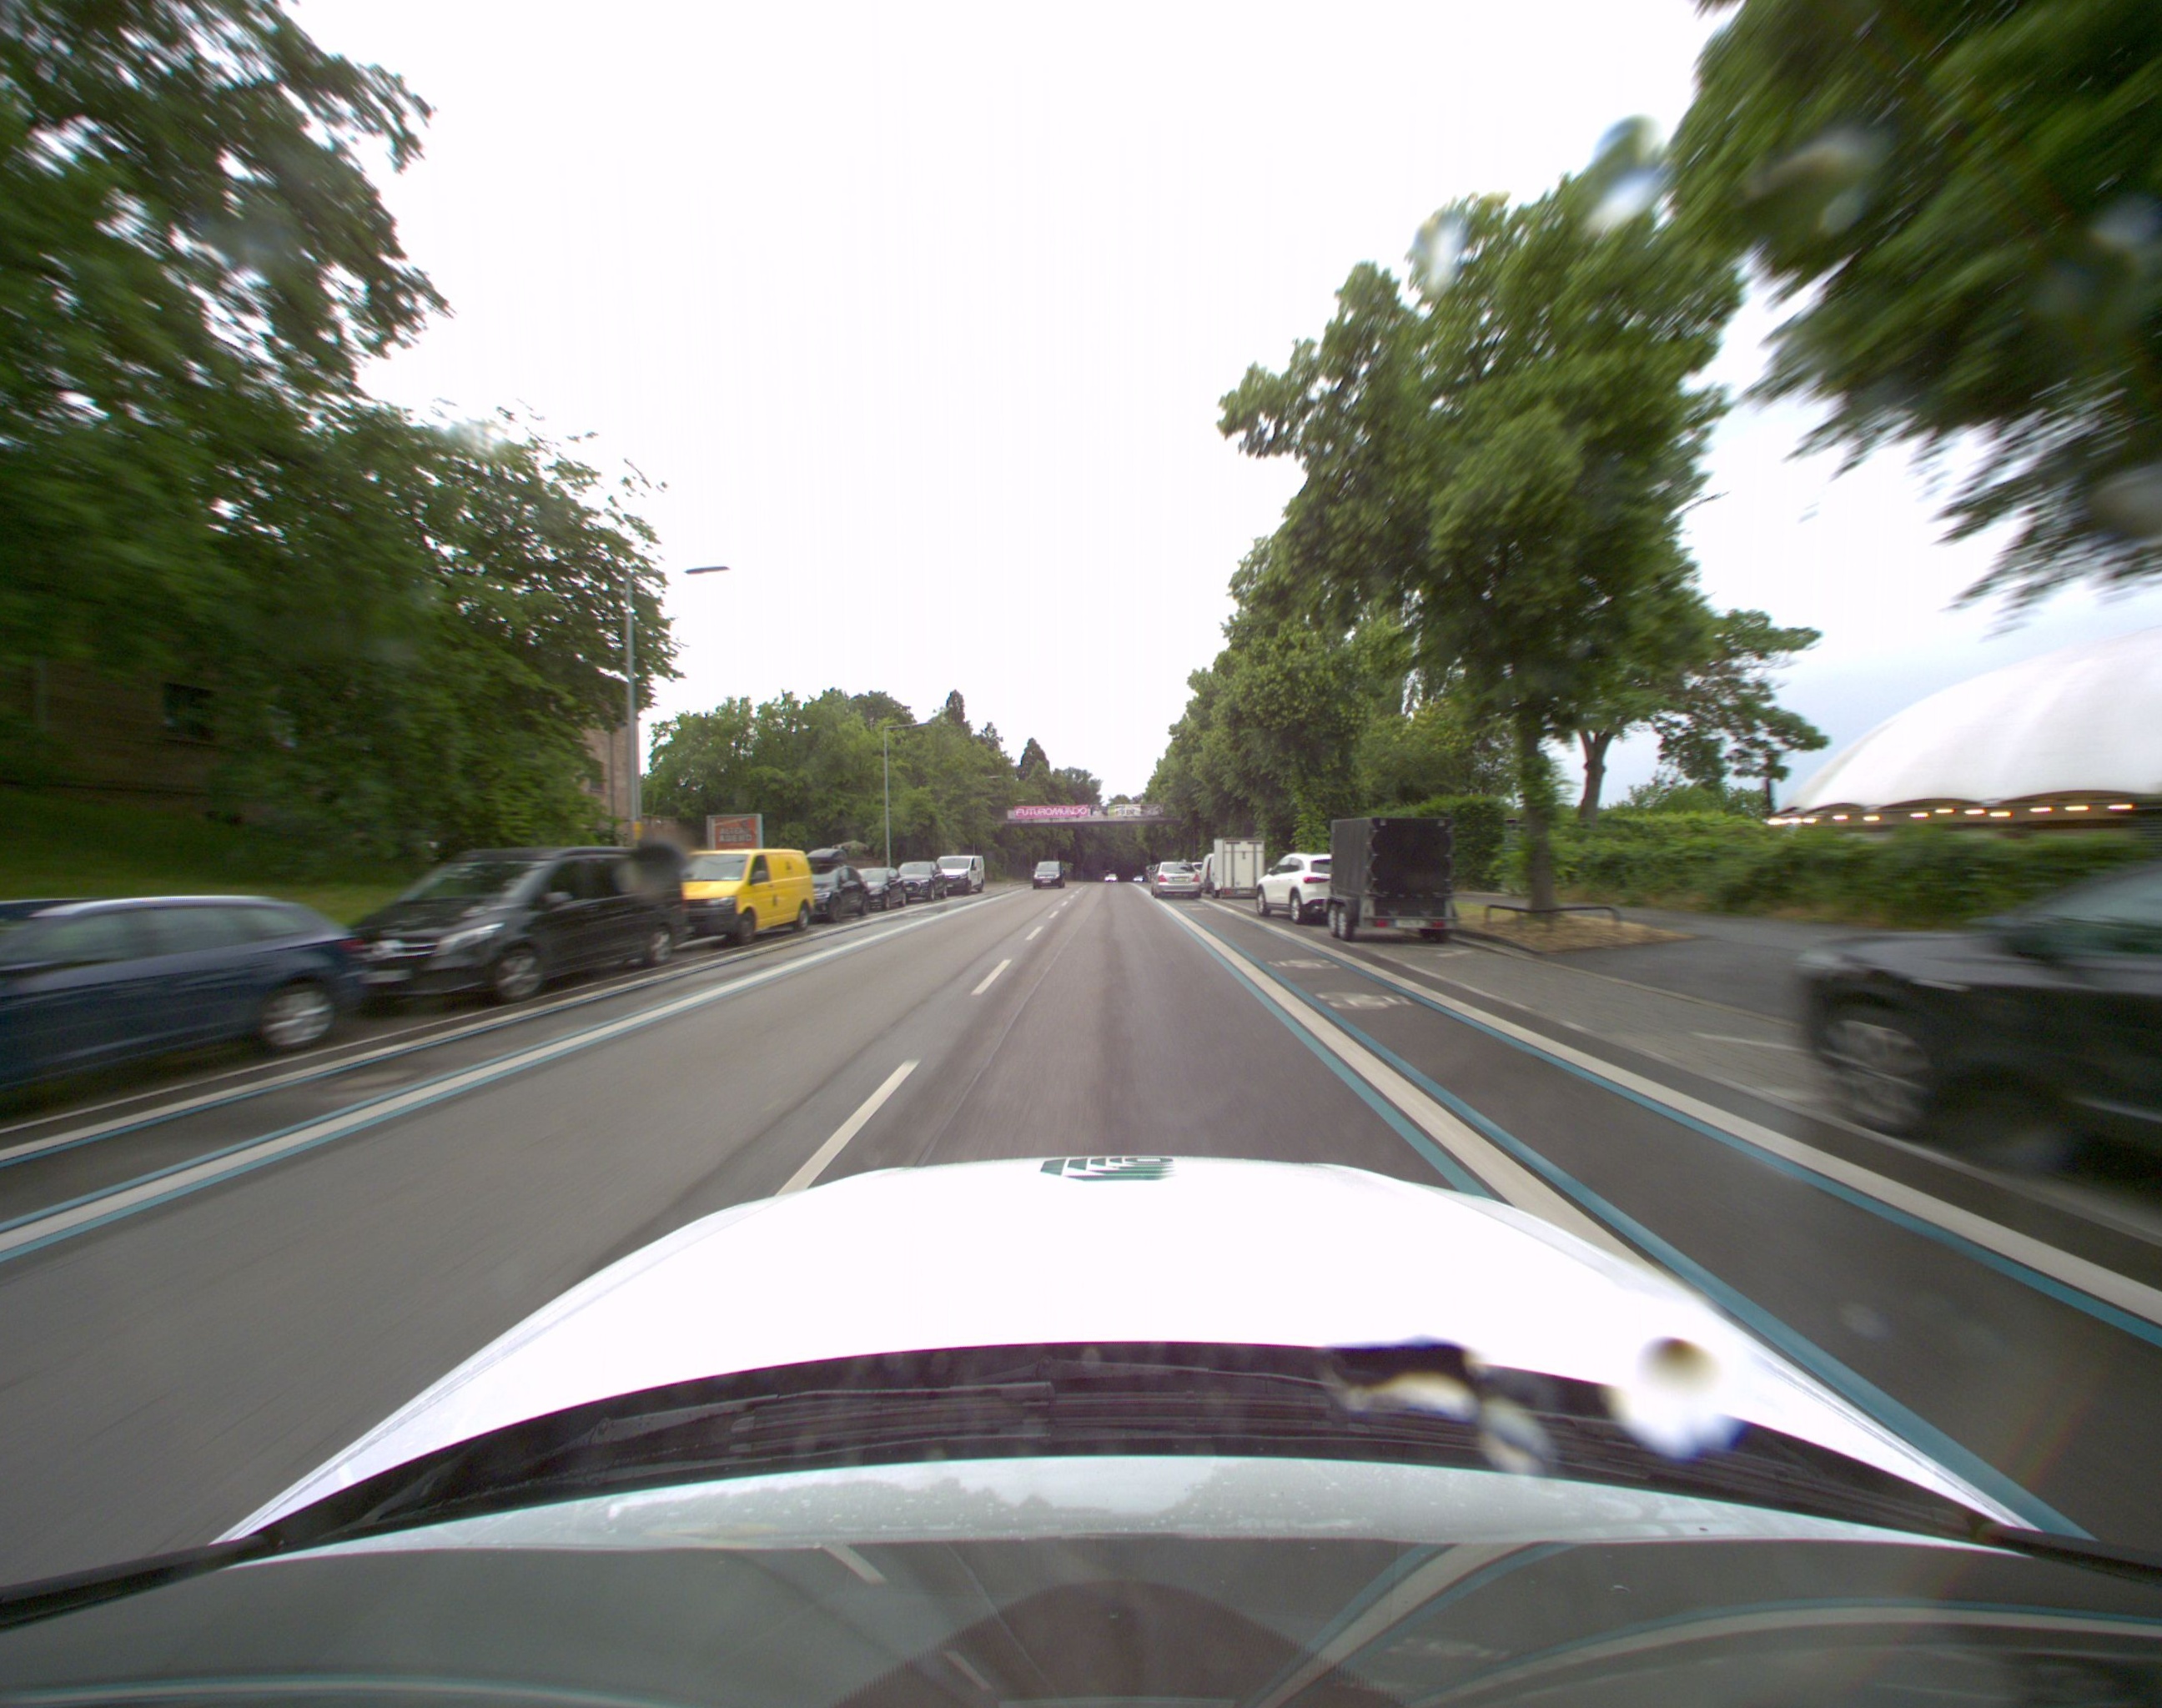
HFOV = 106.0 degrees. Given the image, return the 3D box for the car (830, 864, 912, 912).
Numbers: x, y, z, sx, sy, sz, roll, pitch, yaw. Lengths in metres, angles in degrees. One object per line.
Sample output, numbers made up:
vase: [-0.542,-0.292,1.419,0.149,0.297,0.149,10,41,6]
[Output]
car: [-7.116,1.115,27.997,1.602,1.446,4.039,-2,0,2]

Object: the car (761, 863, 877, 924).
car: [-7.286,1.042,23.069,1.702,1.504,4.153,-2,0,3]

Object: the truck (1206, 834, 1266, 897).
truck: [6.010,0.435,32.021,1.712,2.333,4.001,0,-1,2]

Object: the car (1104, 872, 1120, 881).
car: [5.302,3.778,137.623,1.958,1.552,3.884,-1,-1,14]

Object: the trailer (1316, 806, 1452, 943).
trailer: [5.541,0.358,15.311,1.341,2.269,3.565,0,-1,2]

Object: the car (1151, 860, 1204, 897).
car: [3.830,0.943,32.984,1.715,1.398,4.592,-1,0,1]

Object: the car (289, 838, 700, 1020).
car: [-7.659,0.828,11.540,1.870,1.920,5.206,-2,0,2]

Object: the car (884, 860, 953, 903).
car: [-6.808,1.115,34.564,1.817,1.616,4.664,-2,0,1]

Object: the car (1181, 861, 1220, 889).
car: [6.410,1.072,44.014,1.653,1.426,4.621,0,0,3]

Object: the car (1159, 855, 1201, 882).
car: [6.103,0.894,50.570,1.988,1.560,4.640,0,0,-1]

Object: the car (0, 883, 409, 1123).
car: [-7.920,1.066,6.211,1.678,1.458,4.611,-2,0,1]

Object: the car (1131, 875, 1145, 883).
car: [11.767,5.044,166.660,1.781,1.577,4.122,-1,-3,20]

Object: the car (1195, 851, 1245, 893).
car: [6.338,0.786,37.531,1.715,1.790,4.347,0,0,2]

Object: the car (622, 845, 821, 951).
car: [-7.526,0.827,17.693,1.986,1.913,4.846,-2,0,2]

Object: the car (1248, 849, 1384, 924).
car: [5.509,0.708,19.697,1.752,1.585,4.407,0,-1,-4]

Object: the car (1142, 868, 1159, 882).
car: [7.593,2.324,89.450,1.767,1.348,4.470,0,-3,4]

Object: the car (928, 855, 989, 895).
car: [-6.270,1.009,42.185,1.970,1.914,5.233,-1,0,4]

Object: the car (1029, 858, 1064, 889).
car: [-1.996,1.123,48.647,1.704,1.618,4.151,-3,0,2]

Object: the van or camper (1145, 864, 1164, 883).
van or camper: [10.985,2.904,120.983,2.303,2.665,6.397,0,-2,9]

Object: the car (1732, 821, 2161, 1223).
car: [5.092,0.679,3.212,1.683,1.572,4.341,1,0,2]

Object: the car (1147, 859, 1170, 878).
car: [7.041,1.328,74.274,1.707,1.619,4.260,0,-2,1]
